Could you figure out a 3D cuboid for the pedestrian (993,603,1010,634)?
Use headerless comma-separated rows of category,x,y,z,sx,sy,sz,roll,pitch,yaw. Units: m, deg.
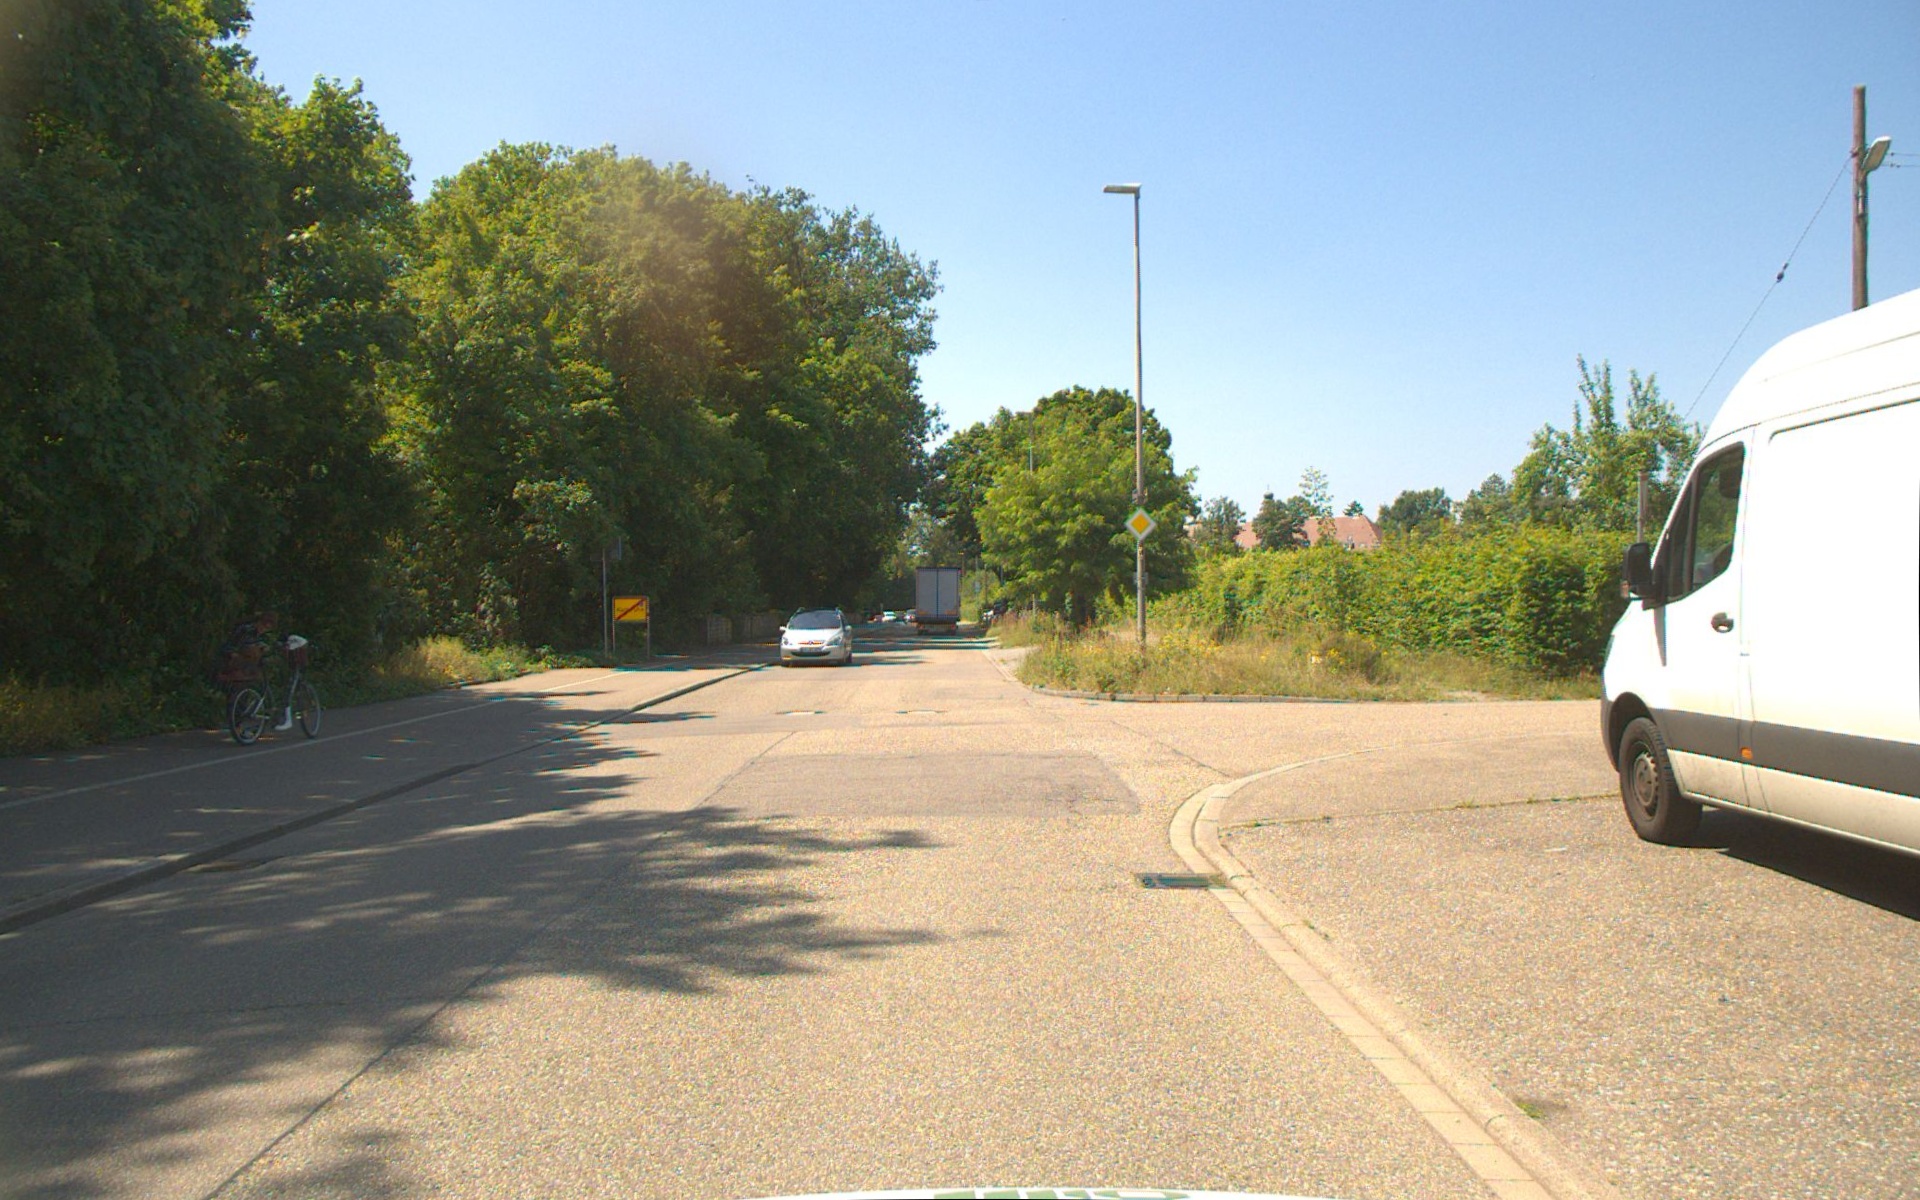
pedestrian,2.305,1.017,92.569,0.846,1.706,0.885,-1,0,-2

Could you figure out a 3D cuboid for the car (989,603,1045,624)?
car,4.180,0.963,121.648,4.110,1.470,1.738,-1,0,0

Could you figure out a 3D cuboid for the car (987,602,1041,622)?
car,4.165,0.955,128.034,4.110,1.470,1.738,-1,0,0

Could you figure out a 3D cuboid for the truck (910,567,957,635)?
truck,-1.520,0.046,99.636,2.678,3.811,13.244,0,0,0

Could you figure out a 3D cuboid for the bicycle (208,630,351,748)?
bicycle,-7.788,0.987,19.016,0.510,1.258,1.962,0,-1,11

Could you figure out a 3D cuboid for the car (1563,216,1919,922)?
car,4.737,-0.152,6.592,1.914,2.781,7.167,-3,0,0

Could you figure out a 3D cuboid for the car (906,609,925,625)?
car,-4.949,1.852,182.761,1.953,1.713,4.262,-1,0,0

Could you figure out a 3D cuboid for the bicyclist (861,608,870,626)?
bicyclist,-9.653,1.739,169.477,0.815,1.746,0.957,-1,0,0

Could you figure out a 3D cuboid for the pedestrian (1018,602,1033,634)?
pedestrian,3.722,1.027,93.844,0.724,1.769,0.885,-1,0,-2

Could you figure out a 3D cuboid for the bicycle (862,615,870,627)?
bicycle,-9.637,2.164,169.449,0.703,1.179,2.230,-1,0,0

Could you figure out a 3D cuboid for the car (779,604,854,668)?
car,-3.868,0.935,45.240,1.755,1.600,4.270,-1,0,-1

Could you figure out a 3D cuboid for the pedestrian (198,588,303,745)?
pedestrian,-8.119,0.746,18.939,0.791,1.748,0.777,0,0,15
